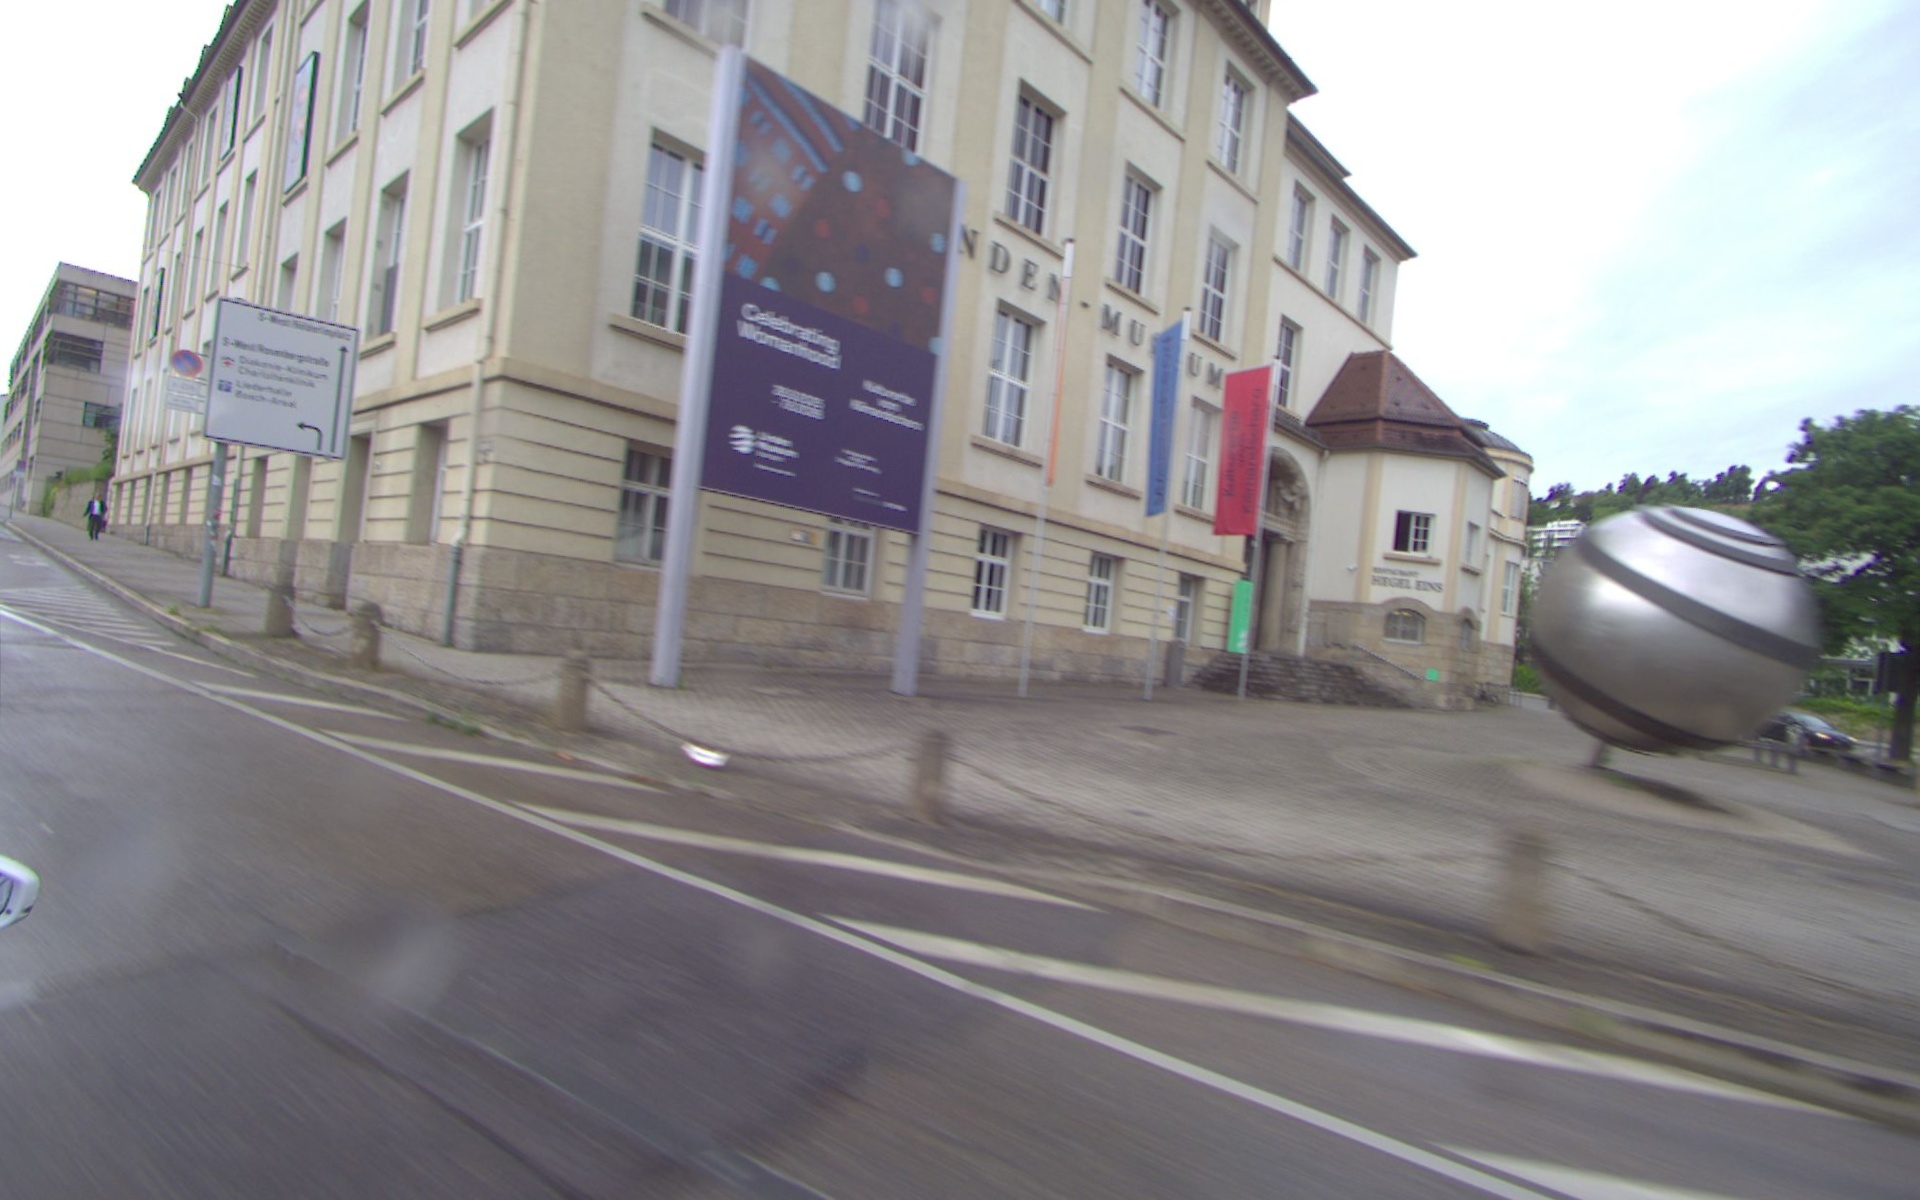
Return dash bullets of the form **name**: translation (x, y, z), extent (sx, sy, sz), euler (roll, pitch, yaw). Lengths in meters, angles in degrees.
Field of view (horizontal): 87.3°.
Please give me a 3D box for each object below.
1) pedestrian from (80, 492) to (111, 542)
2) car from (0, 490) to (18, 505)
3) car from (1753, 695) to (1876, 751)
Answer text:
- **pedestrian**: translation (-33.331, -3.185, 38.794), extent (0.668, 1.819, 0.841), euler (8, -1, -45)
- **car**: translation (-126.960, -13.694, 132.241), extent (1.880, 1.735, 4.425), euler (6, 1, 43)
- **car**: translation (35.074, 5.015, 41.445), extent (1.804, 1.617, 4.160), euler (7, 0, 9)
